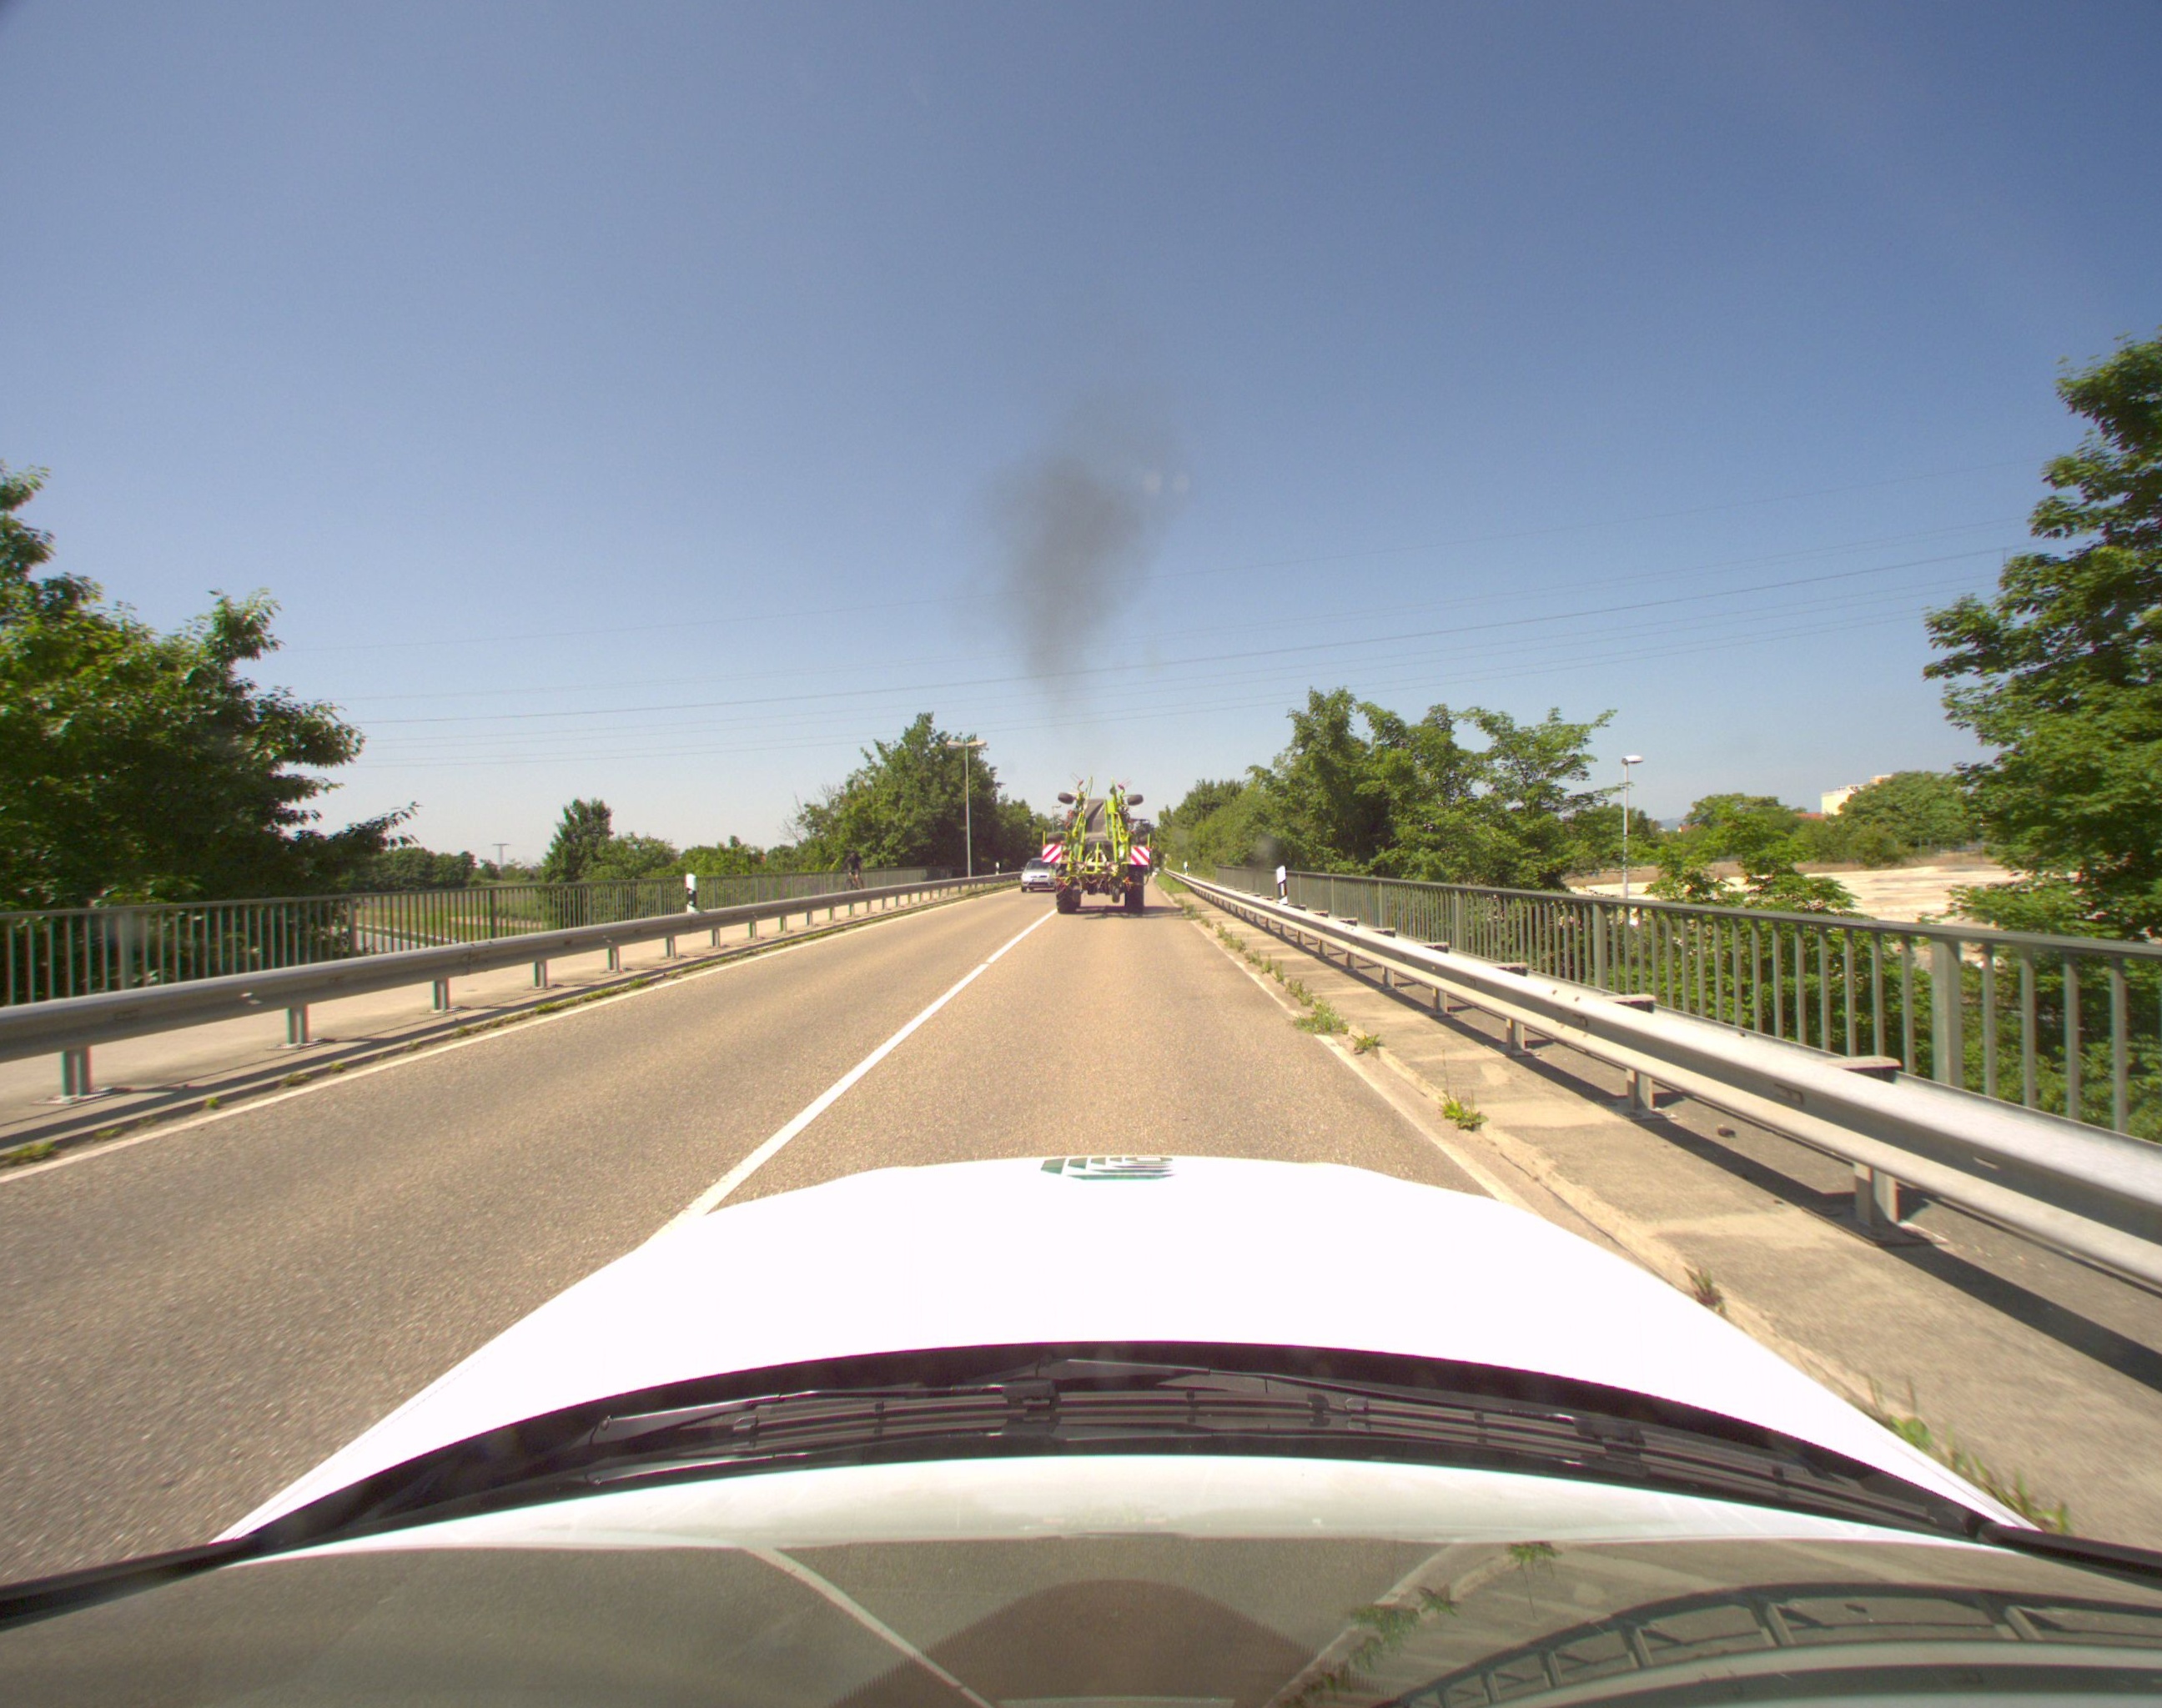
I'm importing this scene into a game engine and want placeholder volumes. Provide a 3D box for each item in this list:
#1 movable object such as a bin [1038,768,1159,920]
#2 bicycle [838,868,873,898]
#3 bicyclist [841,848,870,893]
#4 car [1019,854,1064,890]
[{"bbox_3d":[0.468,-0.248,21.554,2.745,3.444,5.671,-1,0,1],"label":"movable object such as a bin"},{"bbox_3d":[-8.294,1.043,30.035,0.675,1.001,2.119,-2,1,1],"label":"bicycle"},{"bbox_3d":[-8.309,0.589,30.009,0.762,1.633,0.895,-2,0,0],"label":"bicyclist"},{"bbox_3d":[-1.765,0.793,37.157,1.660,1.517,3.668,-1,0,3],"label":"car"}]
